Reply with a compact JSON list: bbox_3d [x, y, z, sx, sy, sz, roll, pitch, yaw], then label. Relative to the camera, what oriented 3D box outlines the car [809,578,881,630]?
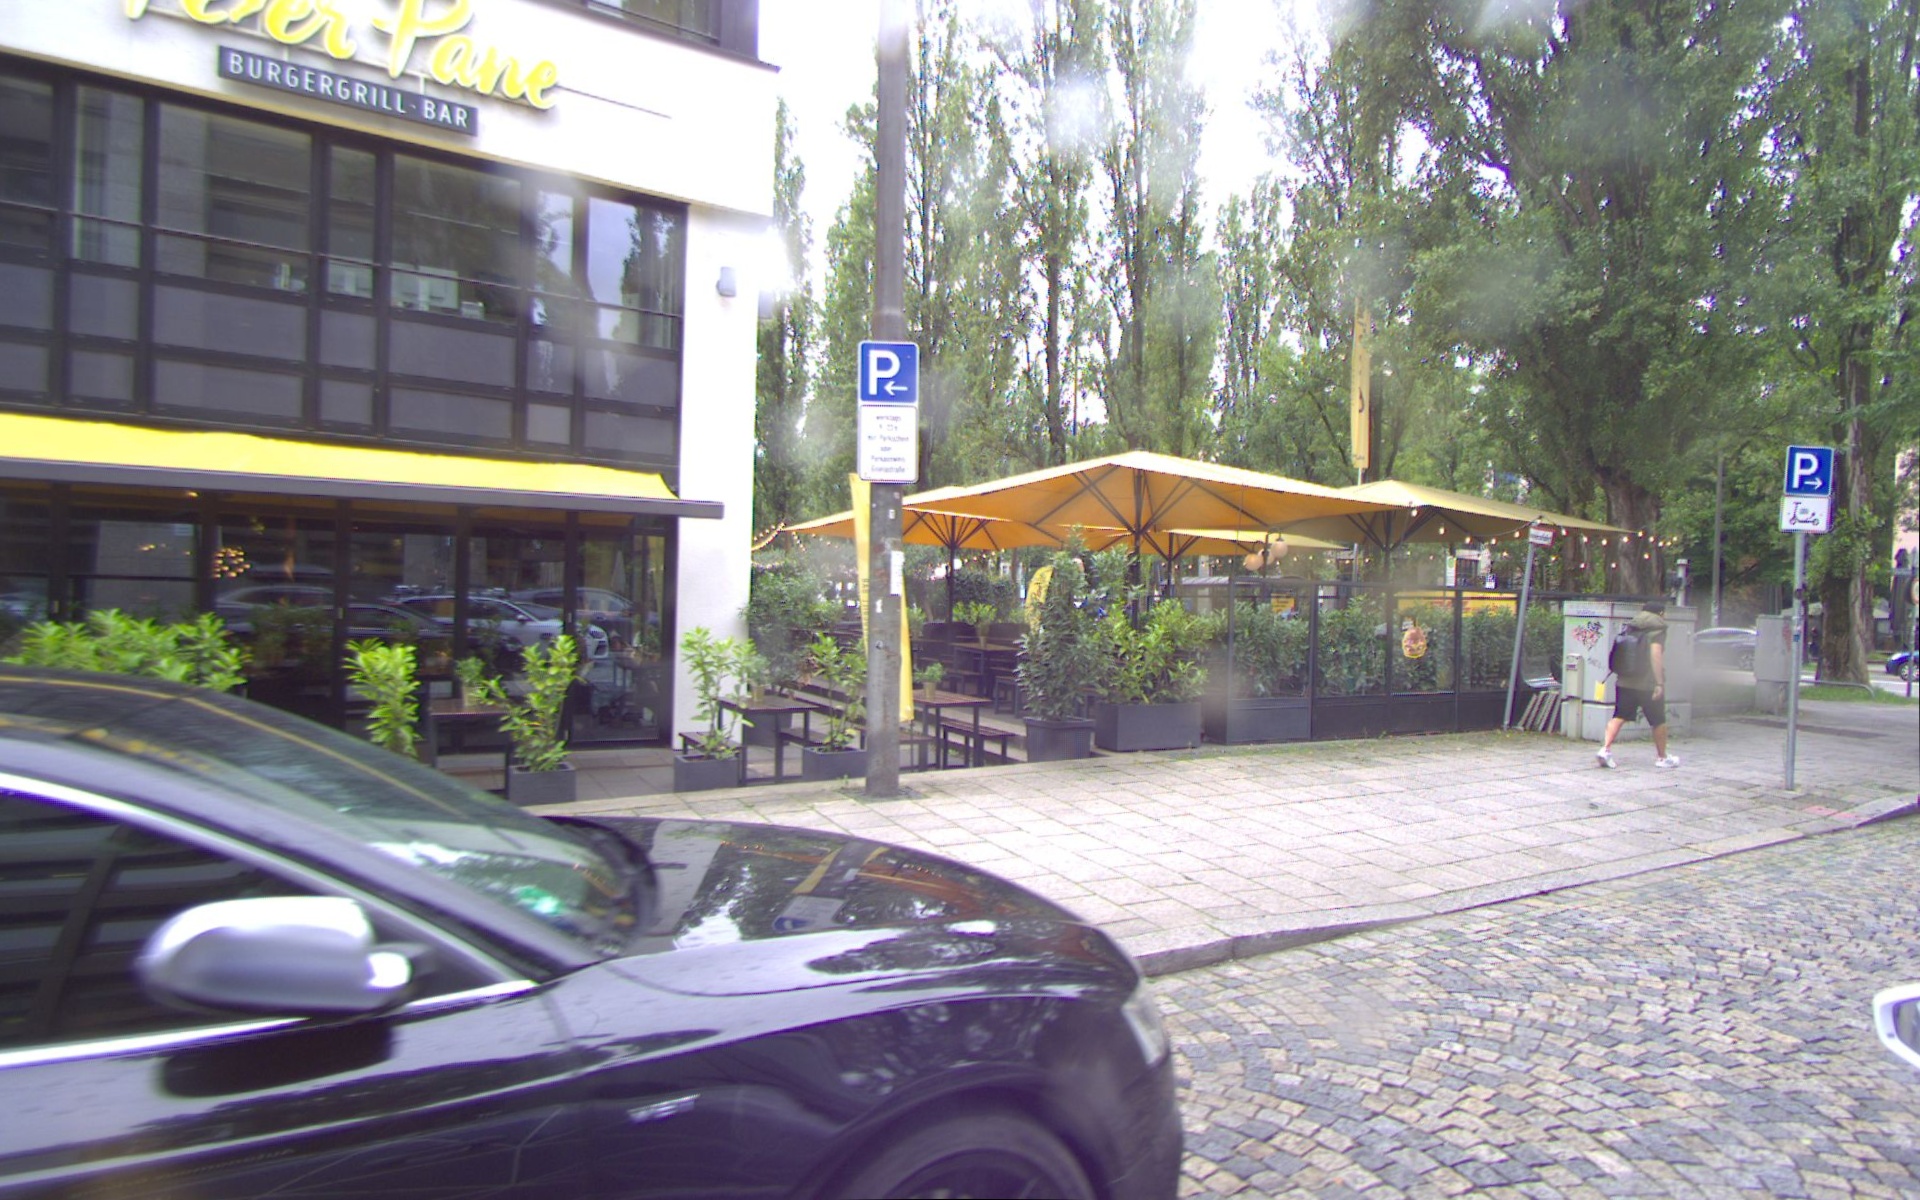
[{"bbox_3d":[-7.230,0.205,62.478,2.174,3.057,5.951,2,0,-30],"label":"car"}]

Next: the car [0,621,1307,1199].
[{"bbox_3d":[-1.535,0.744,1.827,4.071,1.348,1.983,2,0,-32],"label":"car"}]

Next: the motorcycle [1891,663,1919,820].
[{"bbox_3d":[8.439,1.141,7.543,1.951,1.212,0.771,2,0,18],"label":"motorcycle"}]

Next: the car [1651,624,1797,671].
[{"bbox_3d":[29.818,1.823,39.343,1.771,1.622,4.206,2,0,-28],"label":"car"}]

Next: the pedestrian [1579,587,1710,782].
[{"bbox_3d":[6.700,0.793,9.850,0.697,1.796,0.746,1,2,-29],"label":"pedestrian"}]

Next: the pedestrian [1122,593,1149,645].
[{"bbox_3d":[6.031,0.646,34.527,0.635,1.750,0.700,2,0,38],"label":"pedestrian"}]

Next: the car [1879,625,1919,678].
[{"bbox_3d":[33.305,1.789,33.150,1.772,1.754,4.046,3,-1,-29],"label":"car"}]

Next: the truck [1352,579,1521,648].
[{"bbox_3d":[22.578,0.548,48.006,2.570,2.946,7.024,3,0,-29],"label":"truck"}]

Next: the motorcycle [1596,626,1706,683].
[{"bbox_3d":[15.770,1.221,22.962,1.951,1.212,0.630,1,0,18],"label":"motorcycle"}]
